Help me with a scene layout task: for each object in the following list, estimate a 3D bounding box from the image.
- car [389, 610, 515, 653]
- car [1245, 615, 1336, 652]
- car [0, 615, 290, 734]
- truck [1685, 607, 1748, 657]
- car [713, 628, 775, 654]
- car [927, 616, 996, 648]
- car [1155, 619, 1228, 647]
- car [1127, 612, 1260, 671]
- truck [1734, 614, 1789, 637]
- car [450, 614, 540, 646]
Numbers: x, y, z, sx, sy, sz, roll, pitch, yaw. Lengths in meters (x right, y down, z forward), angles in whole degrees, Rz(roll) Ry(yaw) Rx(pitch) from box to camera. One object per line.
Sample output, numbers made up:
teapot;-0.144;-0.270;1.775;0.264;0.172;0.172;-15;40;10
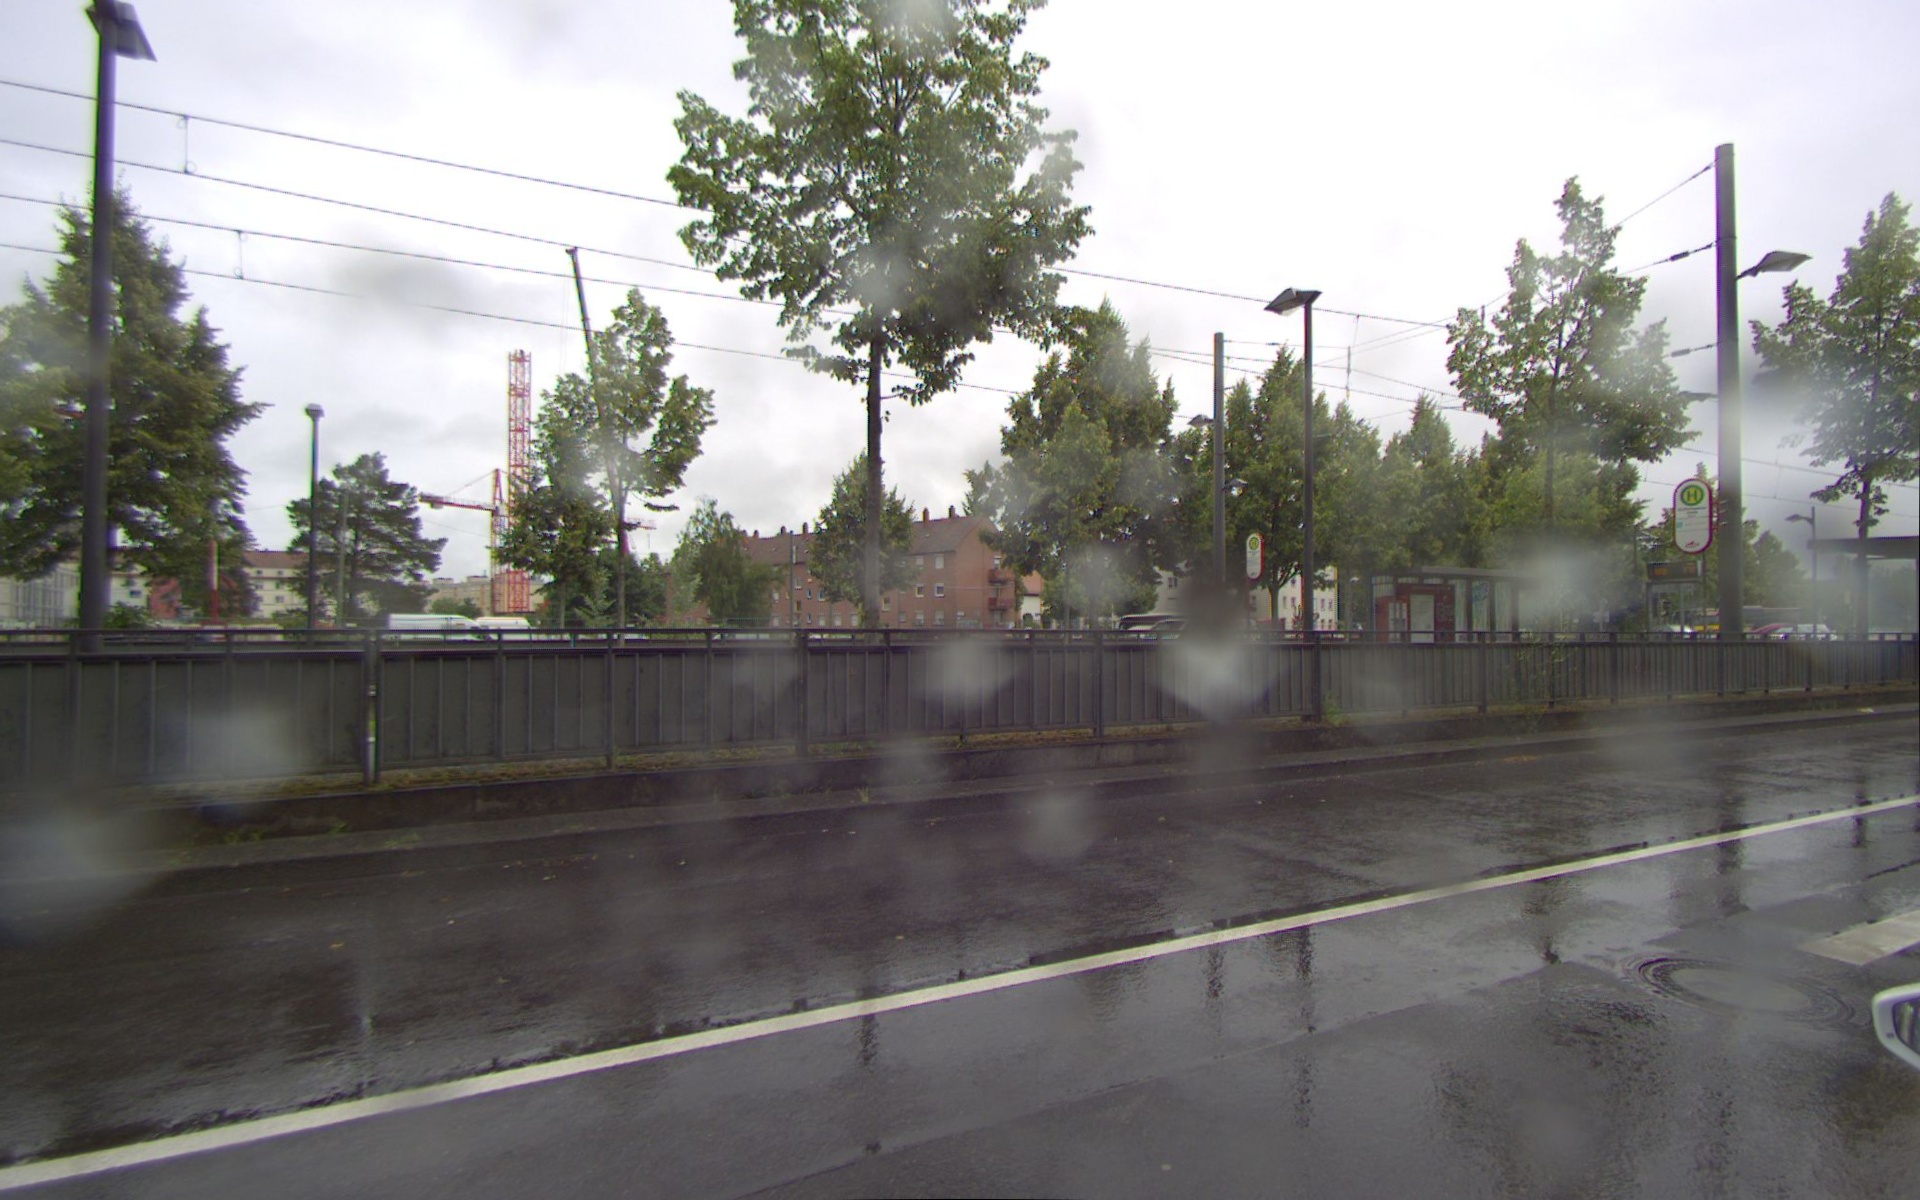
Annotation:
car;-31.004;1.931;61.445;6.676;2.495;1.982;2;0;-33
car;23.193;2.309;70.475;6.385;2.503;1.617;0;-1;-19
car;-13.894;1.208;17.152;3.955;1.770;1.983;2;0;-32
truck;62.153;2.616;82.422;9.121;3.828;2.660;2;0;-44
car;-16.897;3.233;78.595;4.383;1.902;1.858;2;0;-36
car;0.175;2.596;81.954;5.437;2.486;1.981;2;0;-34
car;19.696;2.801;85.387;6.001;2.308;1.618;0;-1;-17
car;7.617;1.326;32.716;3.955;1.770;1.983;2;0;-32
truck;78.171;2.464;97.988;3.922;2.040;1.836;2;0;-2
car;-31.816;2.055;68.828;5.364;2.079;1.982;2;0;-33
